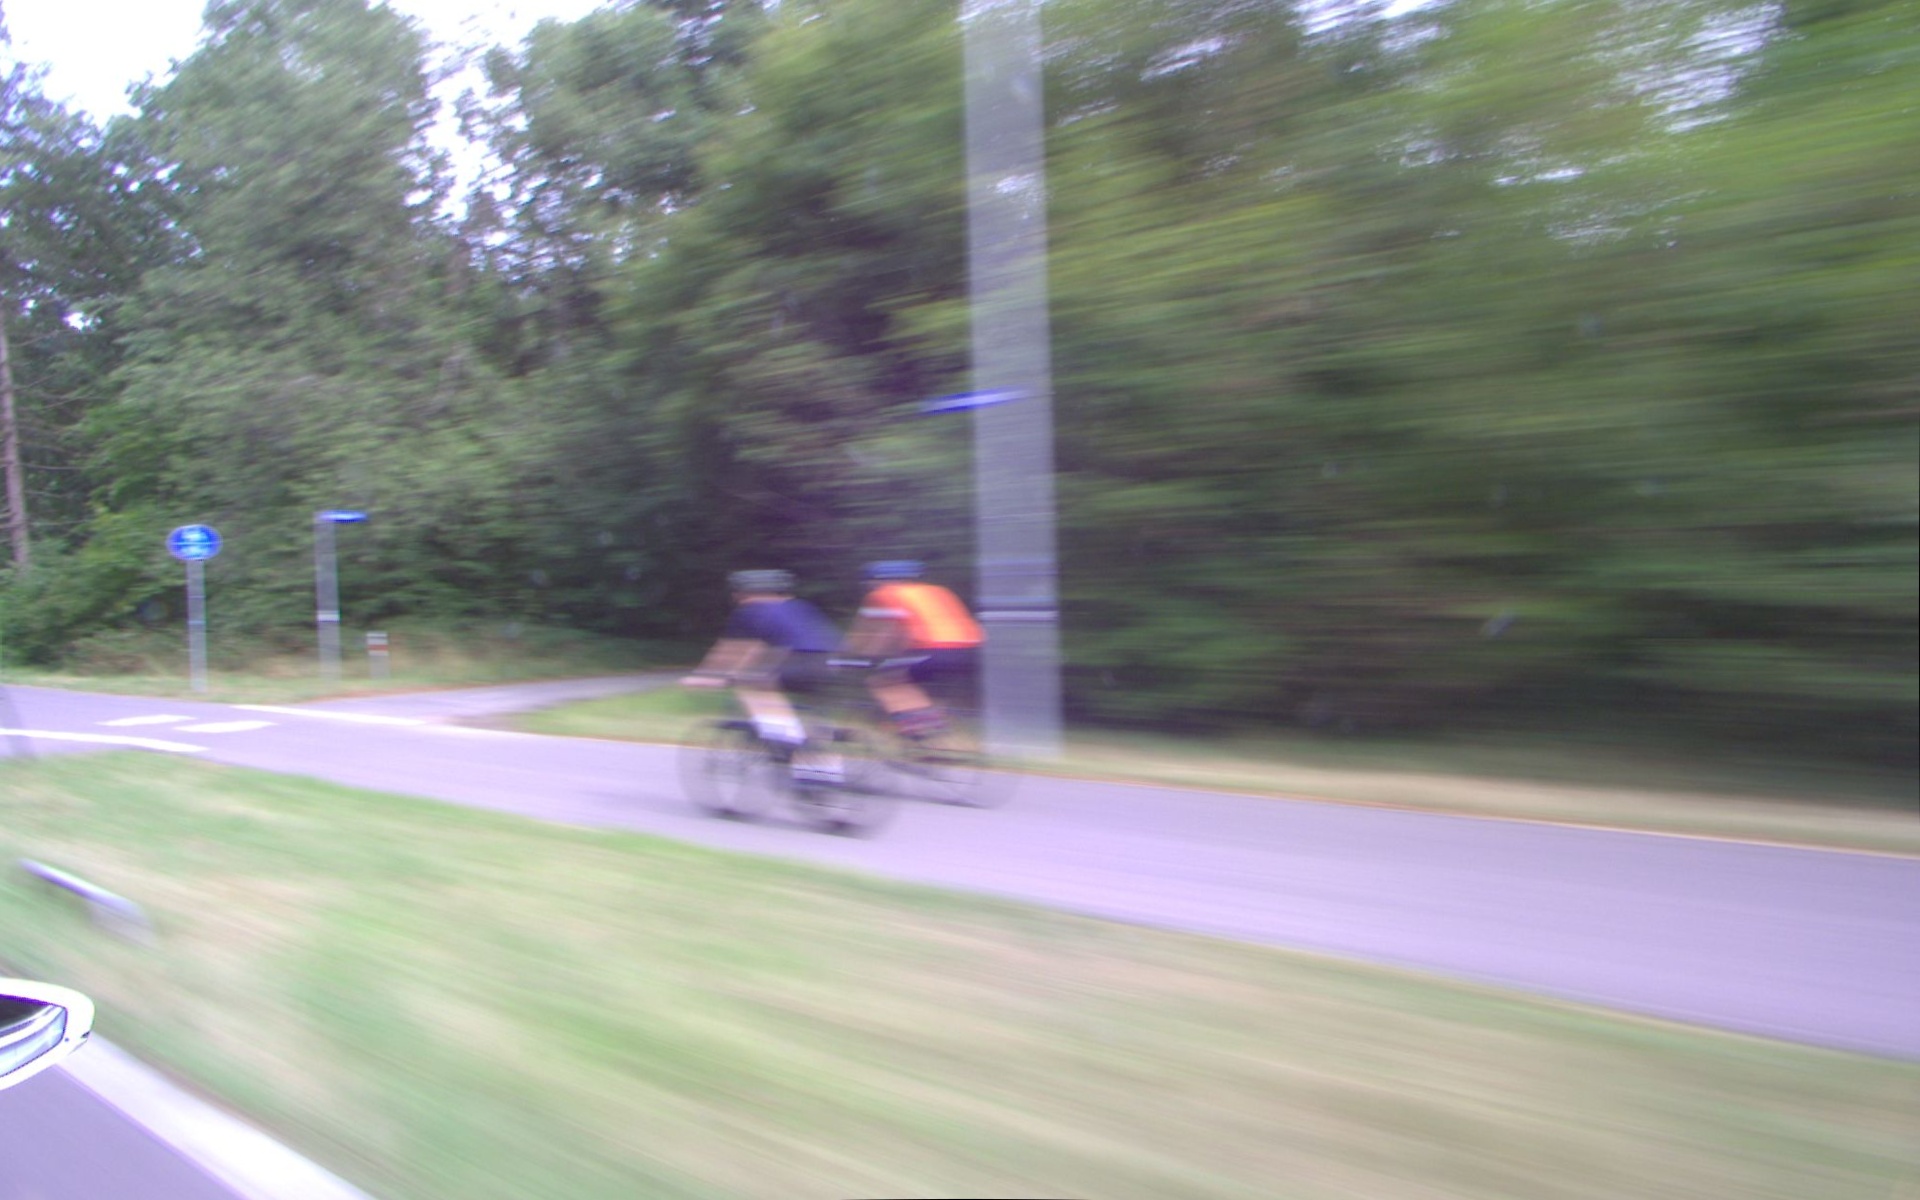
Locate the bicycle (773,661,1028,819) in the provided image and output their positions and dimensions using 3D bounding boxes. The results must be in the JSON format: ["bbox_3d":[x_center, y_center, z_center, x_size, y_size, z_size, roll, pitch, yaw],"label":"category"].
[{"bbox_3d":[-0.462,0.960,7.259,1.860,0.924,0.564,0,3,33],"label":"bicycle"}]

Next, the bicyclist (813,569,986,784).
[{"bbox_3d":[-0.447,0.535,7.247,1.170,1.433,0.519,-1,-2,33],"label":"bicyclist"}]

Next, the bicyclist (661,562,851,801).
[{"bbox_3d":[-1.339,0.504,6.530,1.170,1.434,0.518,-1,0,33],"label":"bicyclist"}]

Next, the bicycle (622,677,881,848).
[{"bbox_3d":[-1.388,1.001,6.538,1.730,0.924,0.564,-2,1,33],"label":"bicycle"}]
